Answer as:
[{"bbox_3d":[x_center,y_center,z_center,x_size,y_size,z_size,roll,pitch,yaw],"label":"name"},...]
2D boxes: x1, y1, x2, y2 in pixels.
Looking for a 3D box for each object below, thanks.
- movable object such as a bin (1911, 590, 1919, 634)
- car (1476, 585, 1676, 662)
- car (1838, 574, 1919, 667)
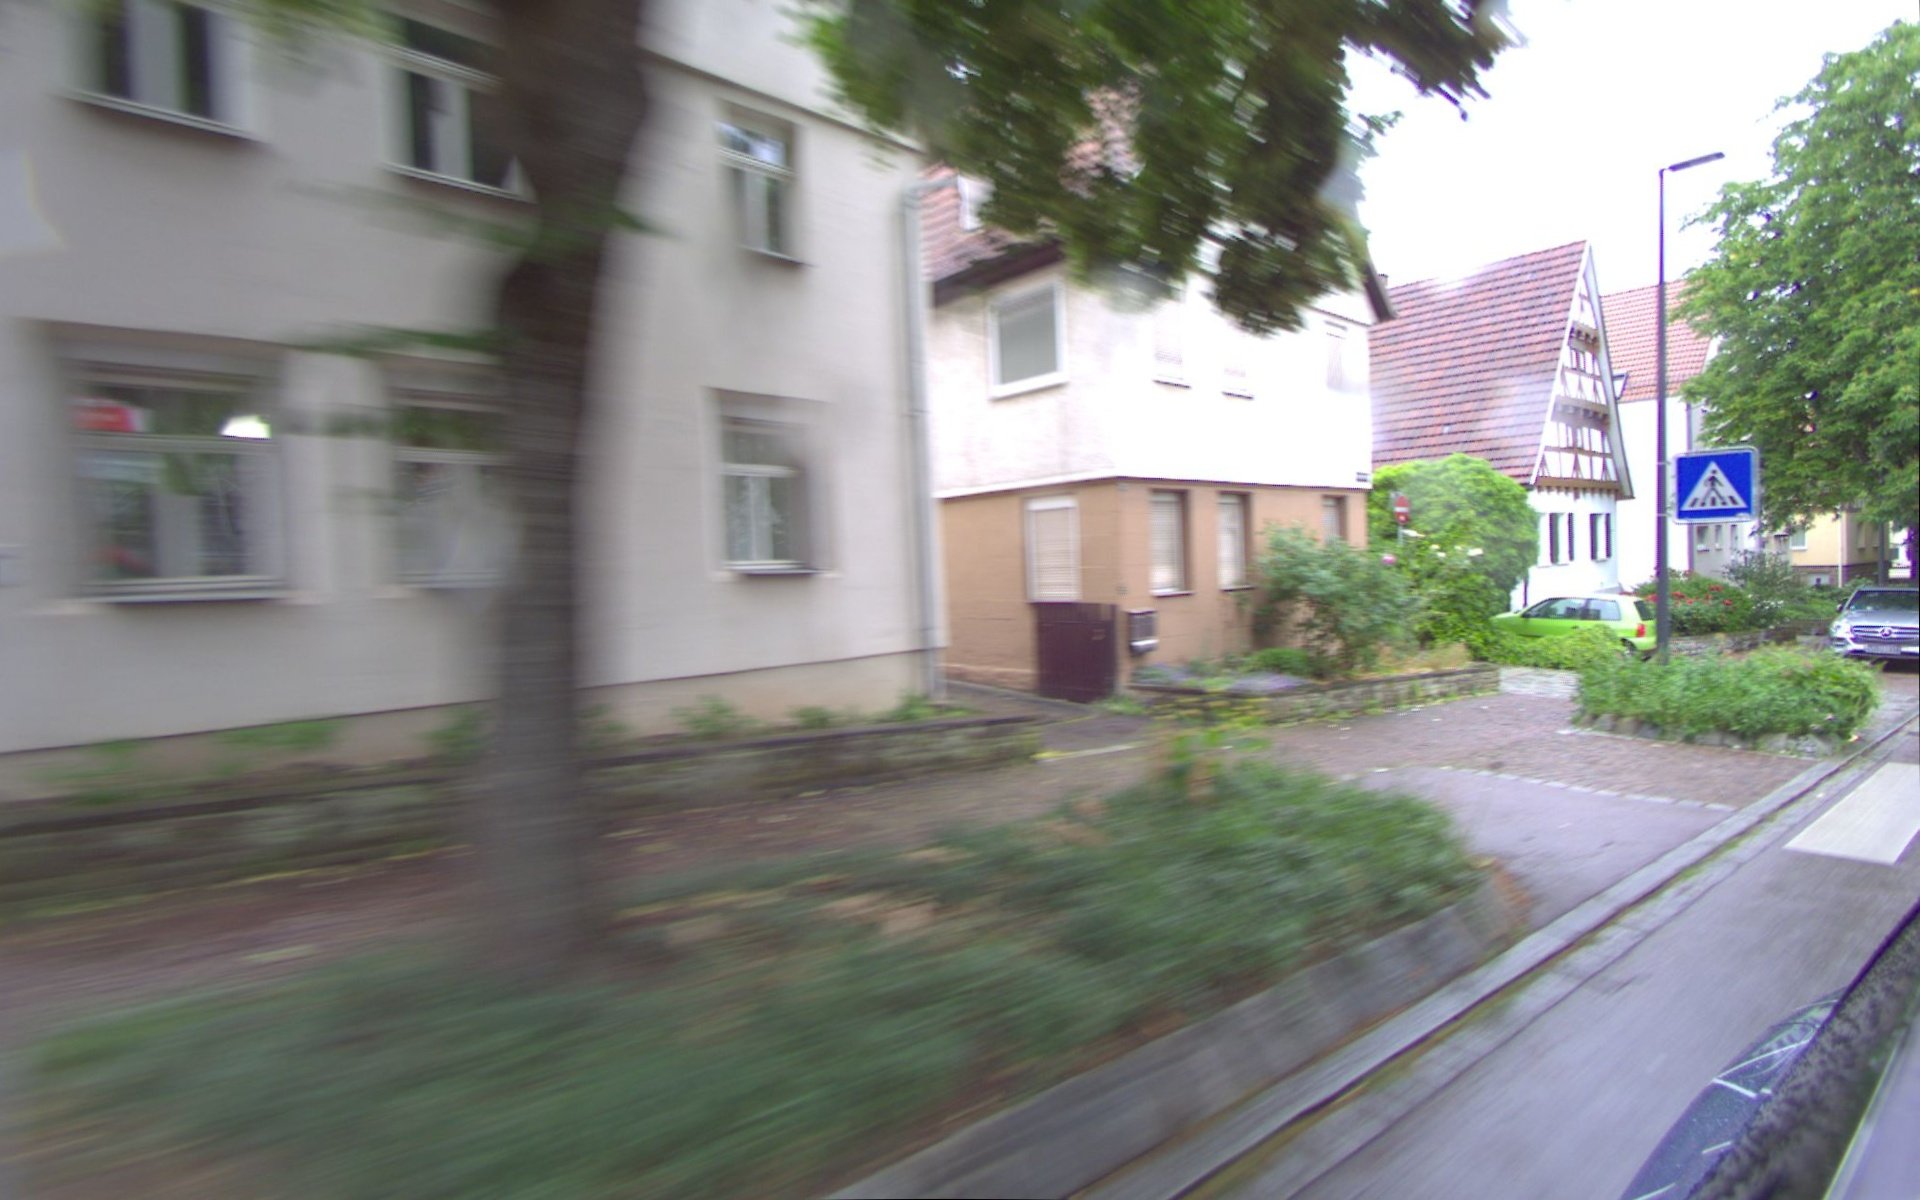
[{"bbox_3d":[30.207,0.370,31.137,1.113,1.331,1.227,-1,1,-39],"label":"movable object such as a bin"},{"bbox_3d":[13.119,0.430,21.668,1.604,1.448,3.368,-1,2,-44],"label":"car"},{"bbox_3d":[20.123,0.366,21.317,4.411,1.815,1.917,-1,0,-42],"label":"car"}]
